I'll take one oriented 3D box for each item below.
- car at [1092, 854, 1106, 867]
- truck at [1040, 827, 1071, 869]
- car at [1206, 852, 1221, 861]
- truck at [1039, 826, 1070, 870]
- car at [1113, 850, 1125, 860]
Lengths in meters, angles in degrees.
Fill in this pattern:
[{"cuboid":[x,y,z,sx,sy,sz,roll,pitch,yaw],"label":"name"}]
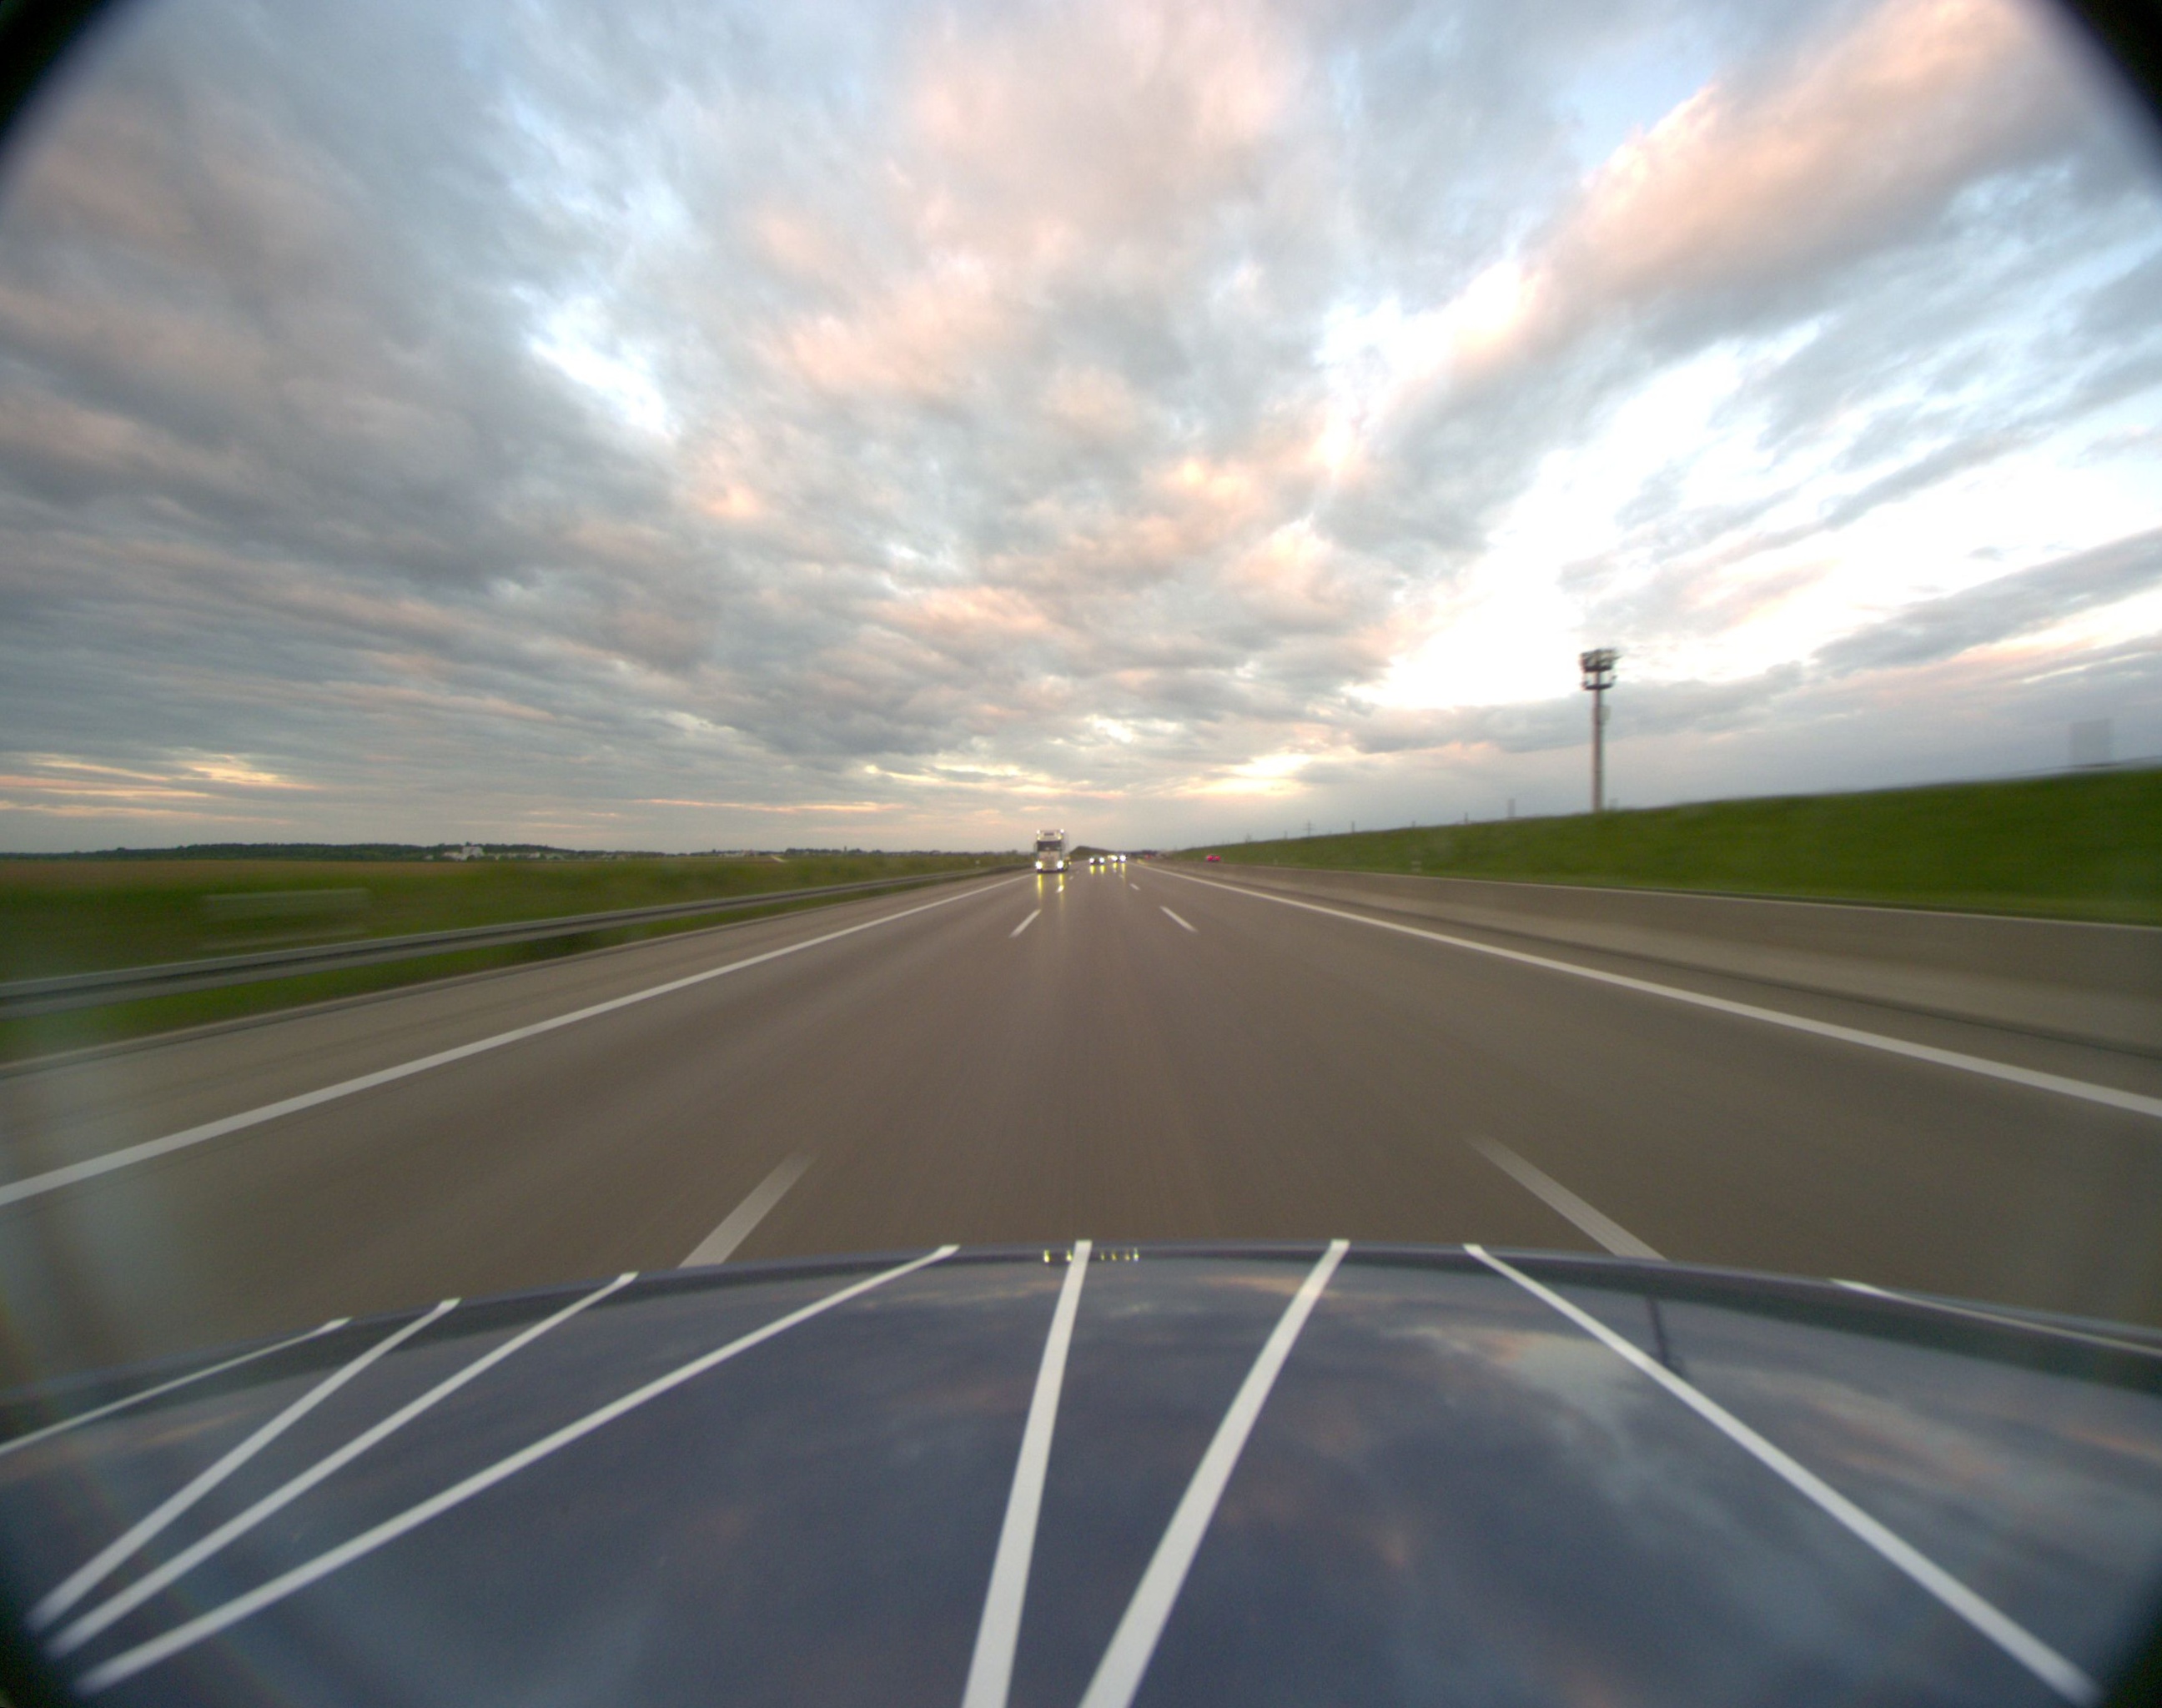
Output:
[{"cuboid":[2.633,0.898,111.849,1.998,1.652,4.851,-3,1,2],"label":"car"},{"cuboid":[-2.506,-0.573,79.481,2.597,3.999,12.984,-2,0,0],"label":"truck"},{"cuboid":[22.529,0.438,129.055,1.866,1.544,4.582,-1,0,2],"label":"car"},{"cuboid":[-2.511,-0.560,72.983,2.597,3.999,5.859,-2,0,0],"label":"truck"},{"cuboid":[7.028,0.223,140.745,1.998,1.652,3.999,-3,1,1],"label":"car"}]
